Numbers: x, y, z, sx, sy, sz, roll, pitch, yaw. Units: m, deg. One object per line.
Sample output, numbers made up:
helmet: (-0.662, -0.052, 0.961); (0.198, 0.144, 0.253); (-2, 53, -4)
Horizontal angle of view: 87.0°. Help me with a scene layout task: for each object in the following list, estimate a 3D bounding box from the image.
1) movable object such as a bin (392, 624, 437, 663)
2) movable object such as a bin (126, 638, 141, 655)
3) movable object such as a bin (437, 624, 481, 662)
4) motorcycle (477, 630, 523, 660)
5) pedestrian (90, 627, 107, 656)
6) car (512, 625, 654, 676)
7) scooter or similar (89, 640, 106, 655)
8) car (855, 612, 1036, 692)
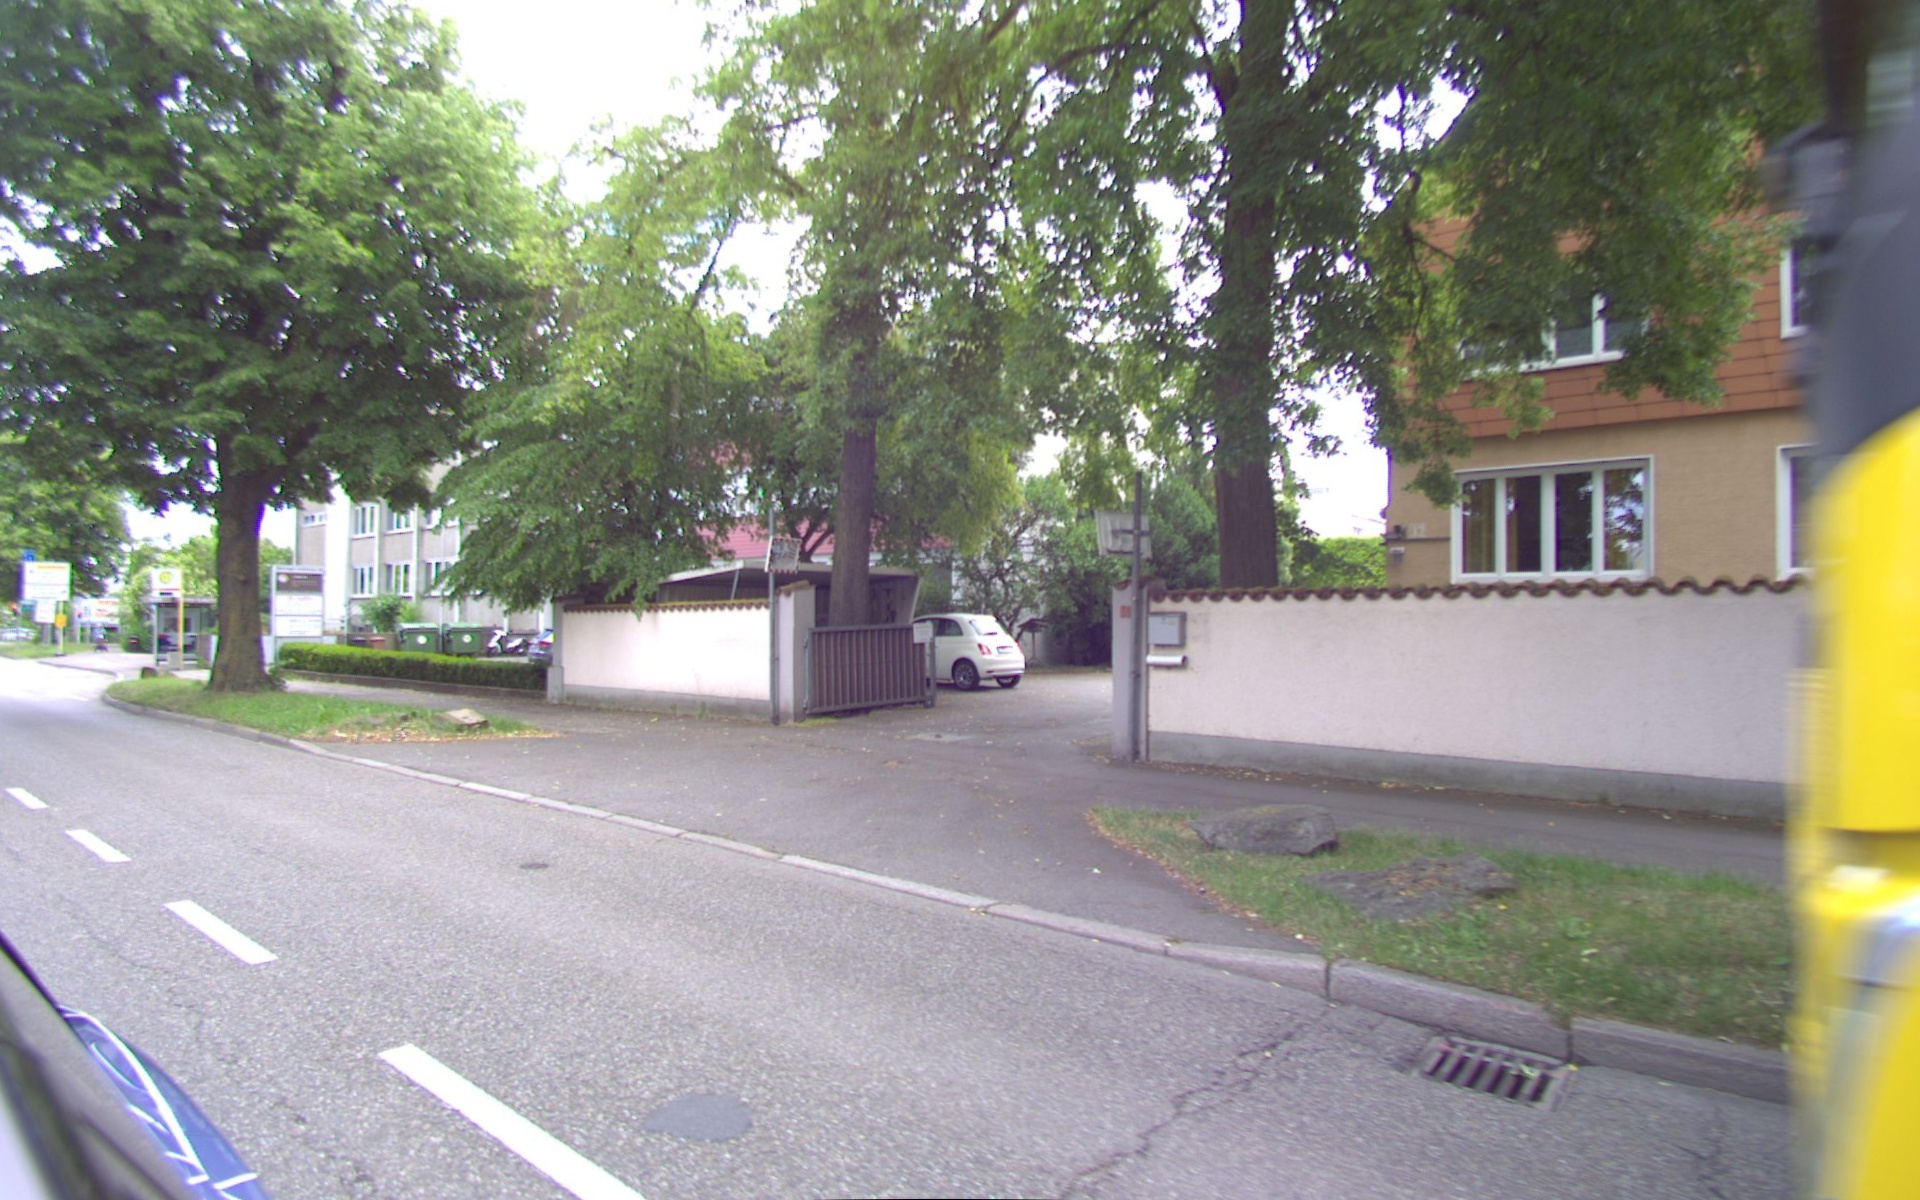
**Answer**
movable object such as a bin: (-21.154, 1.671, 39.236); (0.992, 1.476, 1.285); (-1, -1, 40)
movable object such as a bin: (-44.679, 2.512, 54.696); (0.558, 0.934, 0.609); (1, -1, -34)
movable object such as a bin: (-20.027, 1.700, 40.487); (0.884, 1.476, 1.347); (-1, -1, 40)
motorcycle: (-18.989, 1.850, 41.830); (0.639, 1.148, 1.624); (-1, -1, 41)
pedestrian: (-47.894, 2.291, 56.276); (0.662, 1.570, 0.521); (0, -1, -33)
car: (-12.488, 1.630, 33.621); (4.082, 1.490, 1.817); (0, 0, -35)
scooter or similar: (-47.263, 2.613, 55.429); (0.598, 0.792, 0.861); (0, 0, -33)
car: (-0.358, 1.008, 20.946); (3.615, 1.497, 1.604); (-1, 0, 41)
